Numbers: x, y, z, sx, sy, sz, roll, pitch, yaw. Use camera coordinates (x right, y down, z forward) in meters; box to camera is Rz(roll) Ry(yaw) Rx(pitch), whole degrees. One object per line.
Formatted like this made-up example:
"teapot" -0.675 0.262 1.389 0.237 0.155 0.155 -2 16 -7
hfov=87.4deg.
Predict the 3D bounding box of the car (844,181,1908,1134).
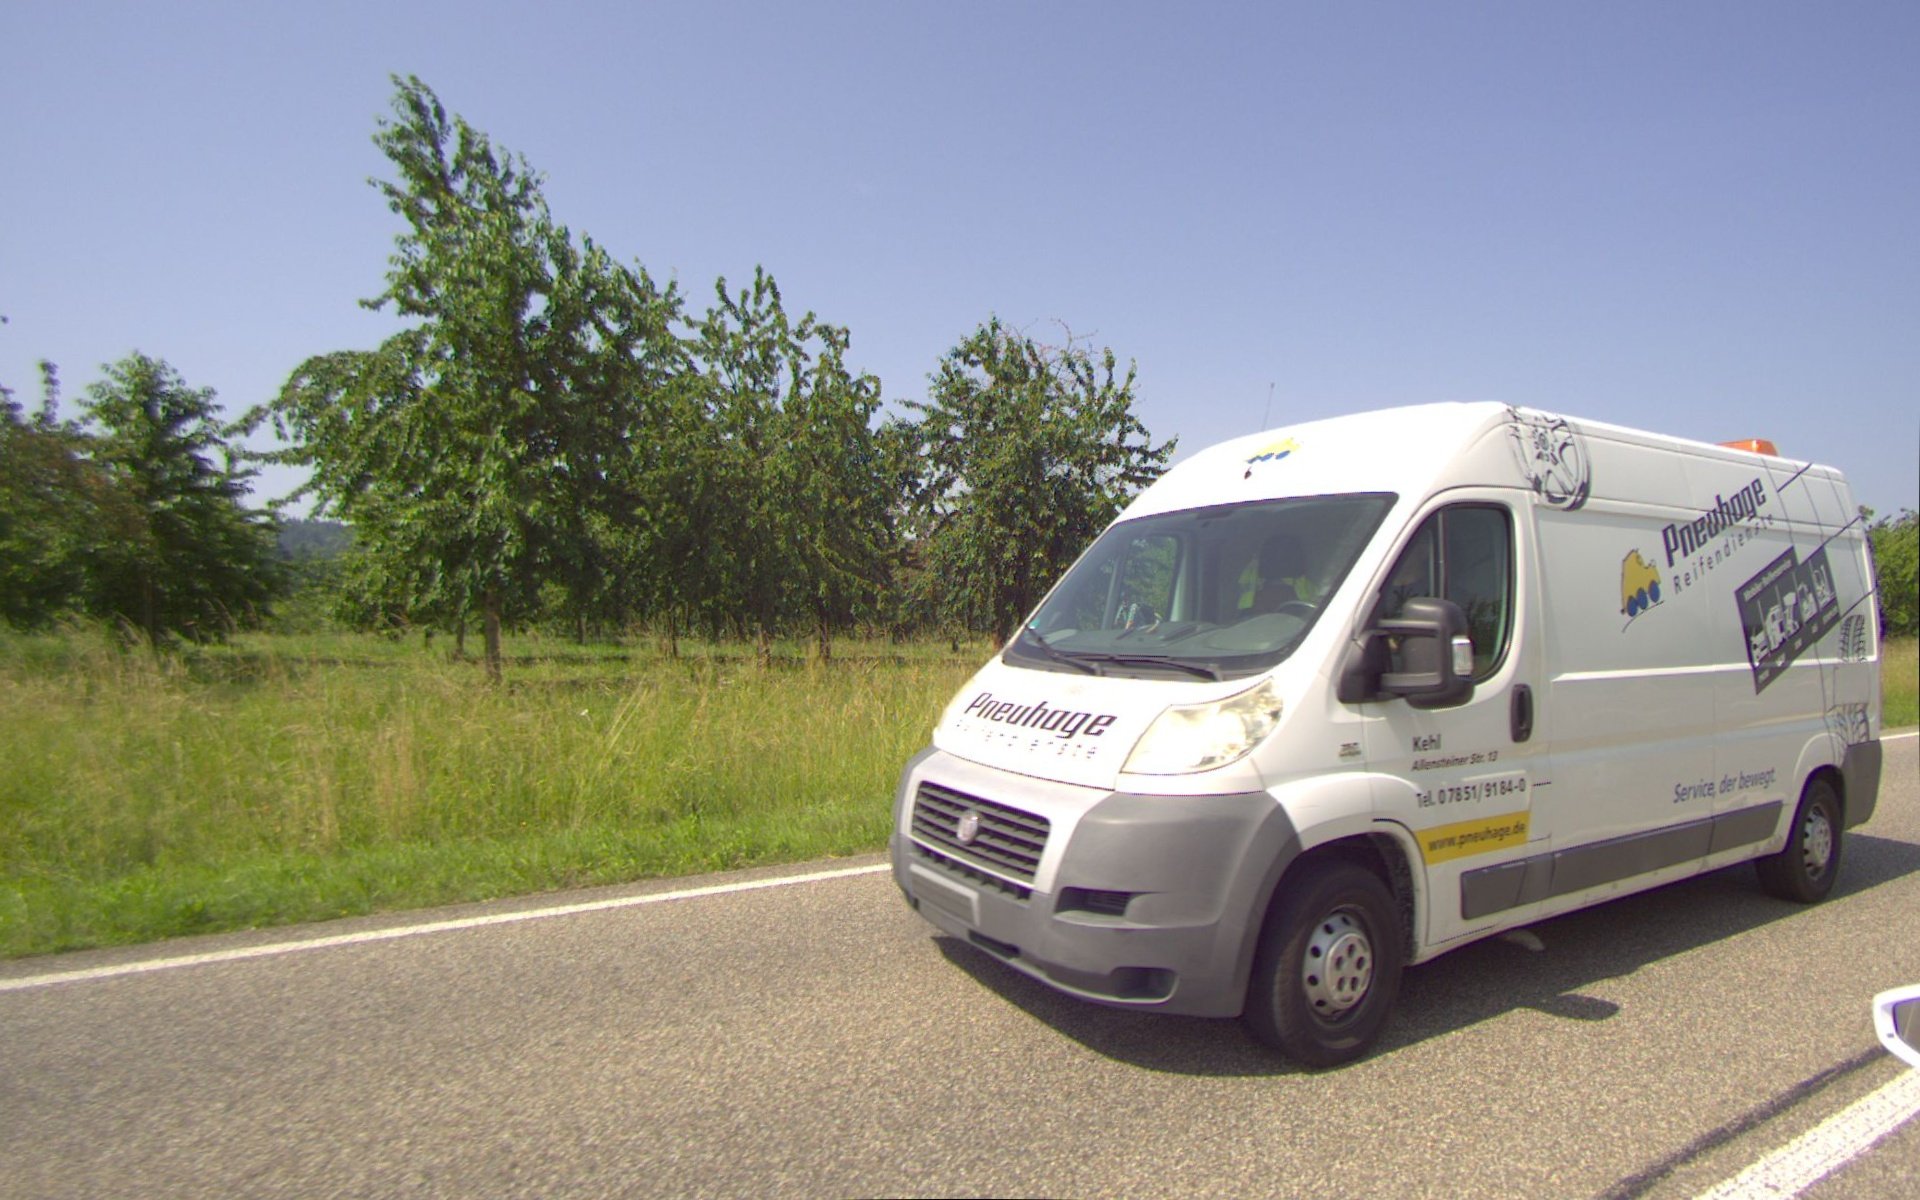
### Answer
"car" 2.610 0.255 5.390 6.075 2.704 2.149 2 -1 -32

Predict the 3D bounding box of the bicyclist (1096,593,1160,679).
"bicyclist" 2.899 0.621 17.305 0.853 1.433 0.638 2 -1 -30

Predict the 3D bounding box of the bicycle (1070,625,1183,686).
"bicycle" 2.879 0.959 17.302 1.932 1.002 0.646 3 -1 -30
